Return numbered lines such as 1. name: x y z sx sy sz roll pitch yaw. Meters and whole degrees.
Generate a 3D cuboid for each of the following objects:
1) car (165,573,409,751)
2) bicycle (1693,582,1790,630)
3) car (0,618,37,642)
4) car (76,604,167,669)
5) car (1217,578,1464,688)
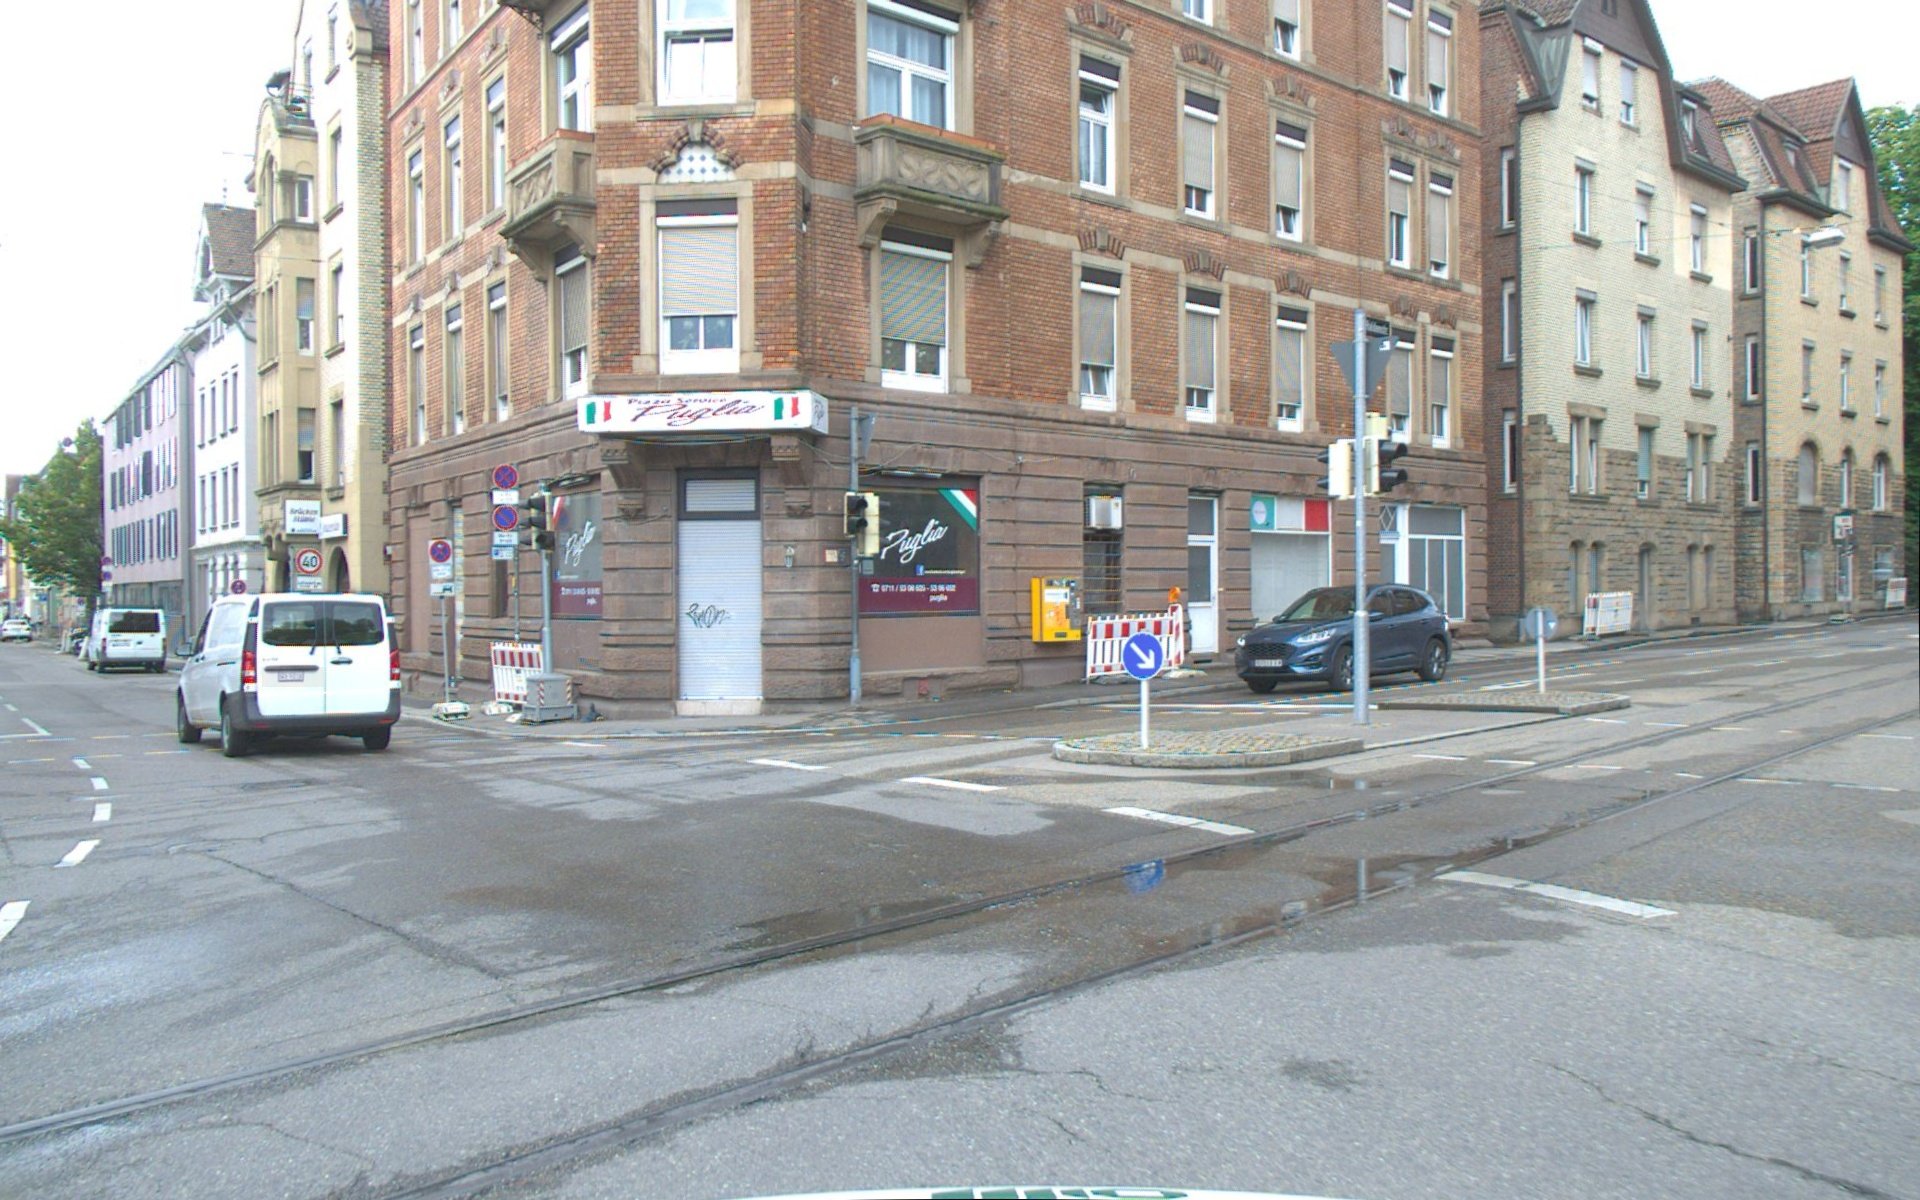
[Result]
1. car: -8.598 0.785 20.890 1.876 1.963 4.587 -1 -2 -35
2. bicycle: 23.839 0.182 50.473 2.555 1.329 0.629 -4 -2 45
3. car: -64.877 2.073 113.840 1.976 1.512 3.953 3 -3 -33
4. car: -27.746 1.185 54.655 2.110 2.040 4.867 1 -1 -34
5. car: 6.285 0.513 27.059 1.966 1.541 4.256 -4 -1 44
